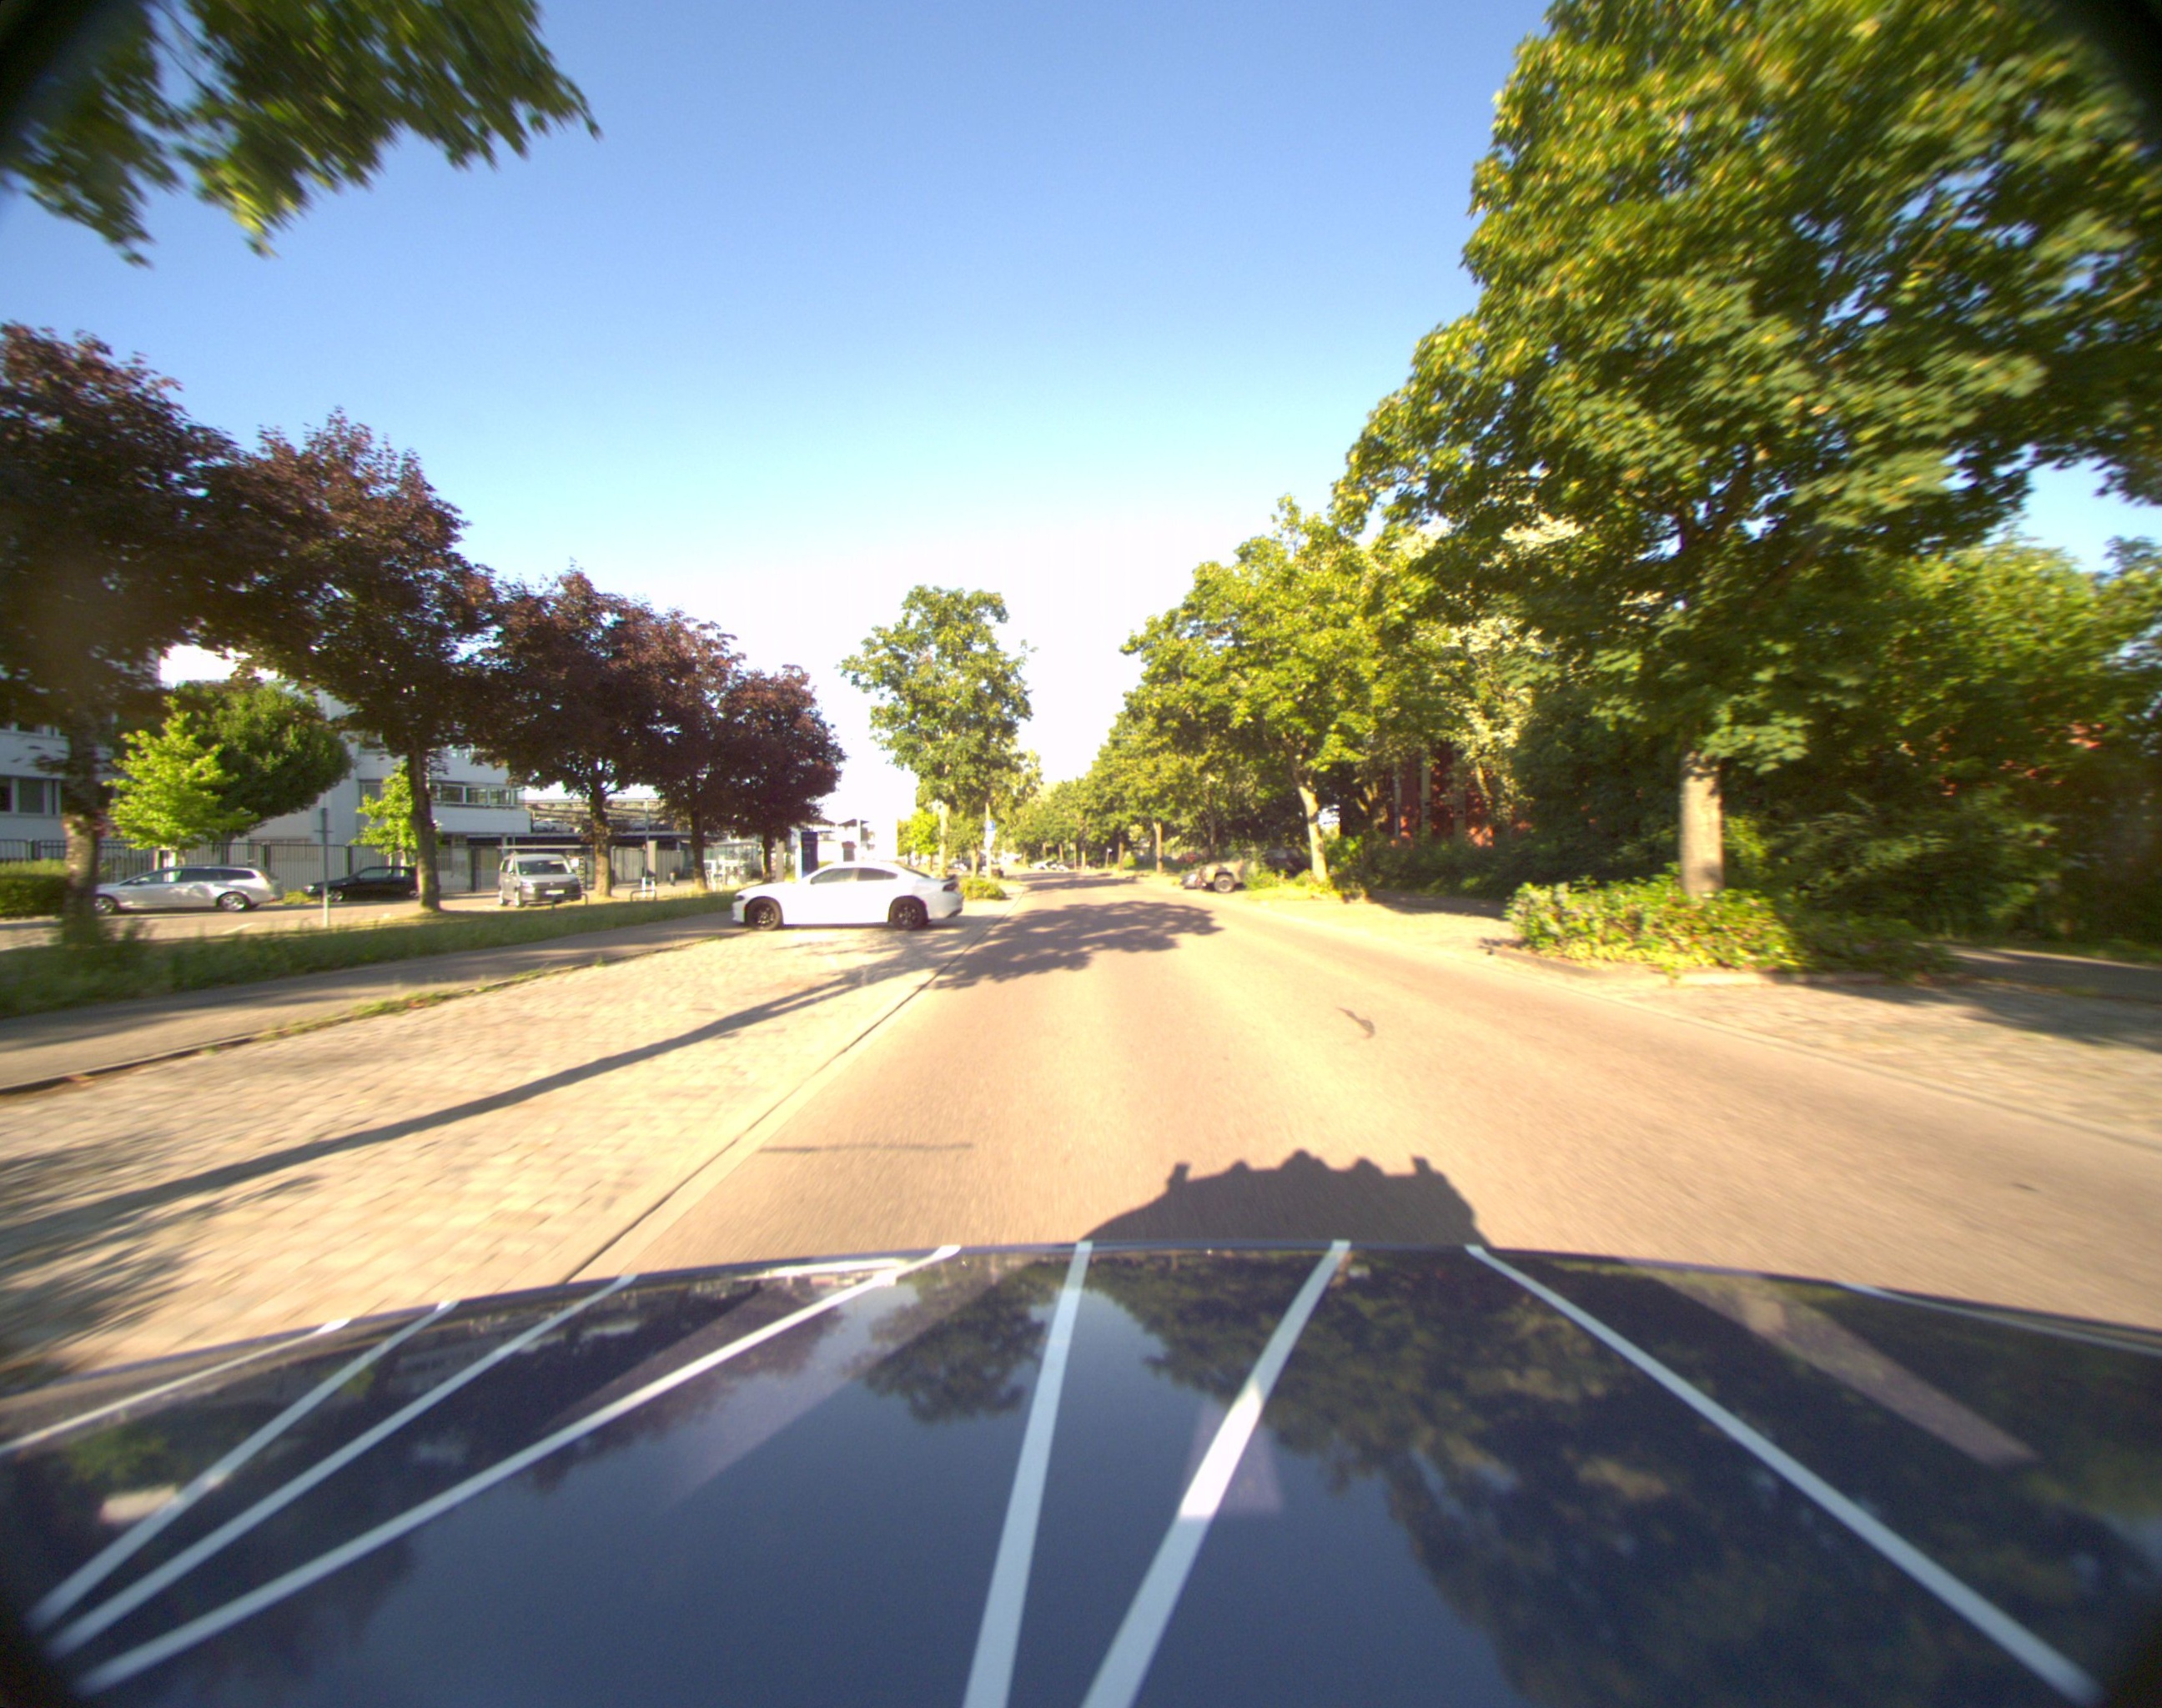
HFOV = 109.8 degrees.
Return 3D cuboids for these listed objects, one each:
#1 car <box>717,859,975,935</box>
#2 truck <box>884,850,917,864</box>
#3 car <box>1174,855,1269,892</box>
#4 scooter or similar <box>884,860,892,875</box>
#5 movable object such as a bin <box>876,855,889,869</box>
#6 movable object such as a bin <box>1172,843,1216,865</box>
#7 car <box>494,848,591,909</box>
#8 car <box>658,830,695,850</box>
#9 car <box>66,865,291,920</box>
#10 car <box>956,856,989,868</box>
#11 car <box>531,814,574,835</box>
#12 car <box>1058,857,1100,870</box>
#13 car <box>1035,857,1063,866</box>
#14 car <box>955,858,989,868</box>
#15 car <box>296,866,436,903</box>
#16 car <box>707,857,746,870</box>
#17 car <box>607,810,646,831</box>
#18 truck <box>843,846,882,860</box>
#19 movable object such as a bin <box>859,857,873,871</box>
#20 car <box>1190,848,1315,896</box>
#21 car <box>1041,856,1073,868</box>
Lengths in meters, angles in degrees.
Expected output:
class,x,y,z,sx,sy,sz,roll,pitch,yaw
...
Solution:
class,x,y,z,sx,sy,sz,roll,pitch,yaw
car,-5.108,0.915,17.210,5.190,1.565,2.157,0,0,-3
truck,-46.664,0.697,196.340,8.233,3.501,3.121,0,0,24
car,6.937,0.937,37.734,4.224,1.521,1.705,-3,0,-5
scooter or similar,-16.680,1.149,65.652,0.521,1.264,1.200,-1,0,-6
movable object such as a bin,-21.207,0.879,81.083,0.846,1.408,1.039,-2,0,21
movable object such as a bin,13.550,0.011,91.443,4.790,2.649,2.169,0,0,43
car,-18.823,0.848,26.467,2.004,1.922,4.940,-1,-1,-44
car,-47.274,-1.625,88.917,1.998,2.089,4.201,-3,0,0
car,-28.518,1.156,24.259,4.321,1.520,1.802,-1,0,-37
car,-15.833,1.176,110.678,4.710,1.740,2.190,0,0,-7
car,-61.926,-3.457,89.146,1.998,2.089,4.201,-3,0,0
car,-0.241,1.199,98.678,5.052,1.454,1.998,-2,1,-12
car,-5.199,1.235,123.556,4.301,1.522,1.998,-1,0,-11
car,-15.106,1.248,104.989,4.497,1.395,2.031,0,0,-12
car,-28.812,1.189,30.795,4.008,1.346,1.802,-1,0,-41
car,-40.208,1.102,86.304,2.036,1.423,4.562,0,0,4
car,-53.173,-3.895,88.997,1.998,2.089,4.201,-3,0,0
truck,-57.359,-0.214,199.730,10.094,3.623,3.301,0,0,23
movable object such as a bin,-22.948,1.077,81.169,1.214,1.475,1.037,-1,0,-5
car,7.554,0.777,33.788,5.018,2.008,2.174,-1,0,-1
car,-3.694,1.205,115.736,4.495,1.522,1.998,-2,0,-12
